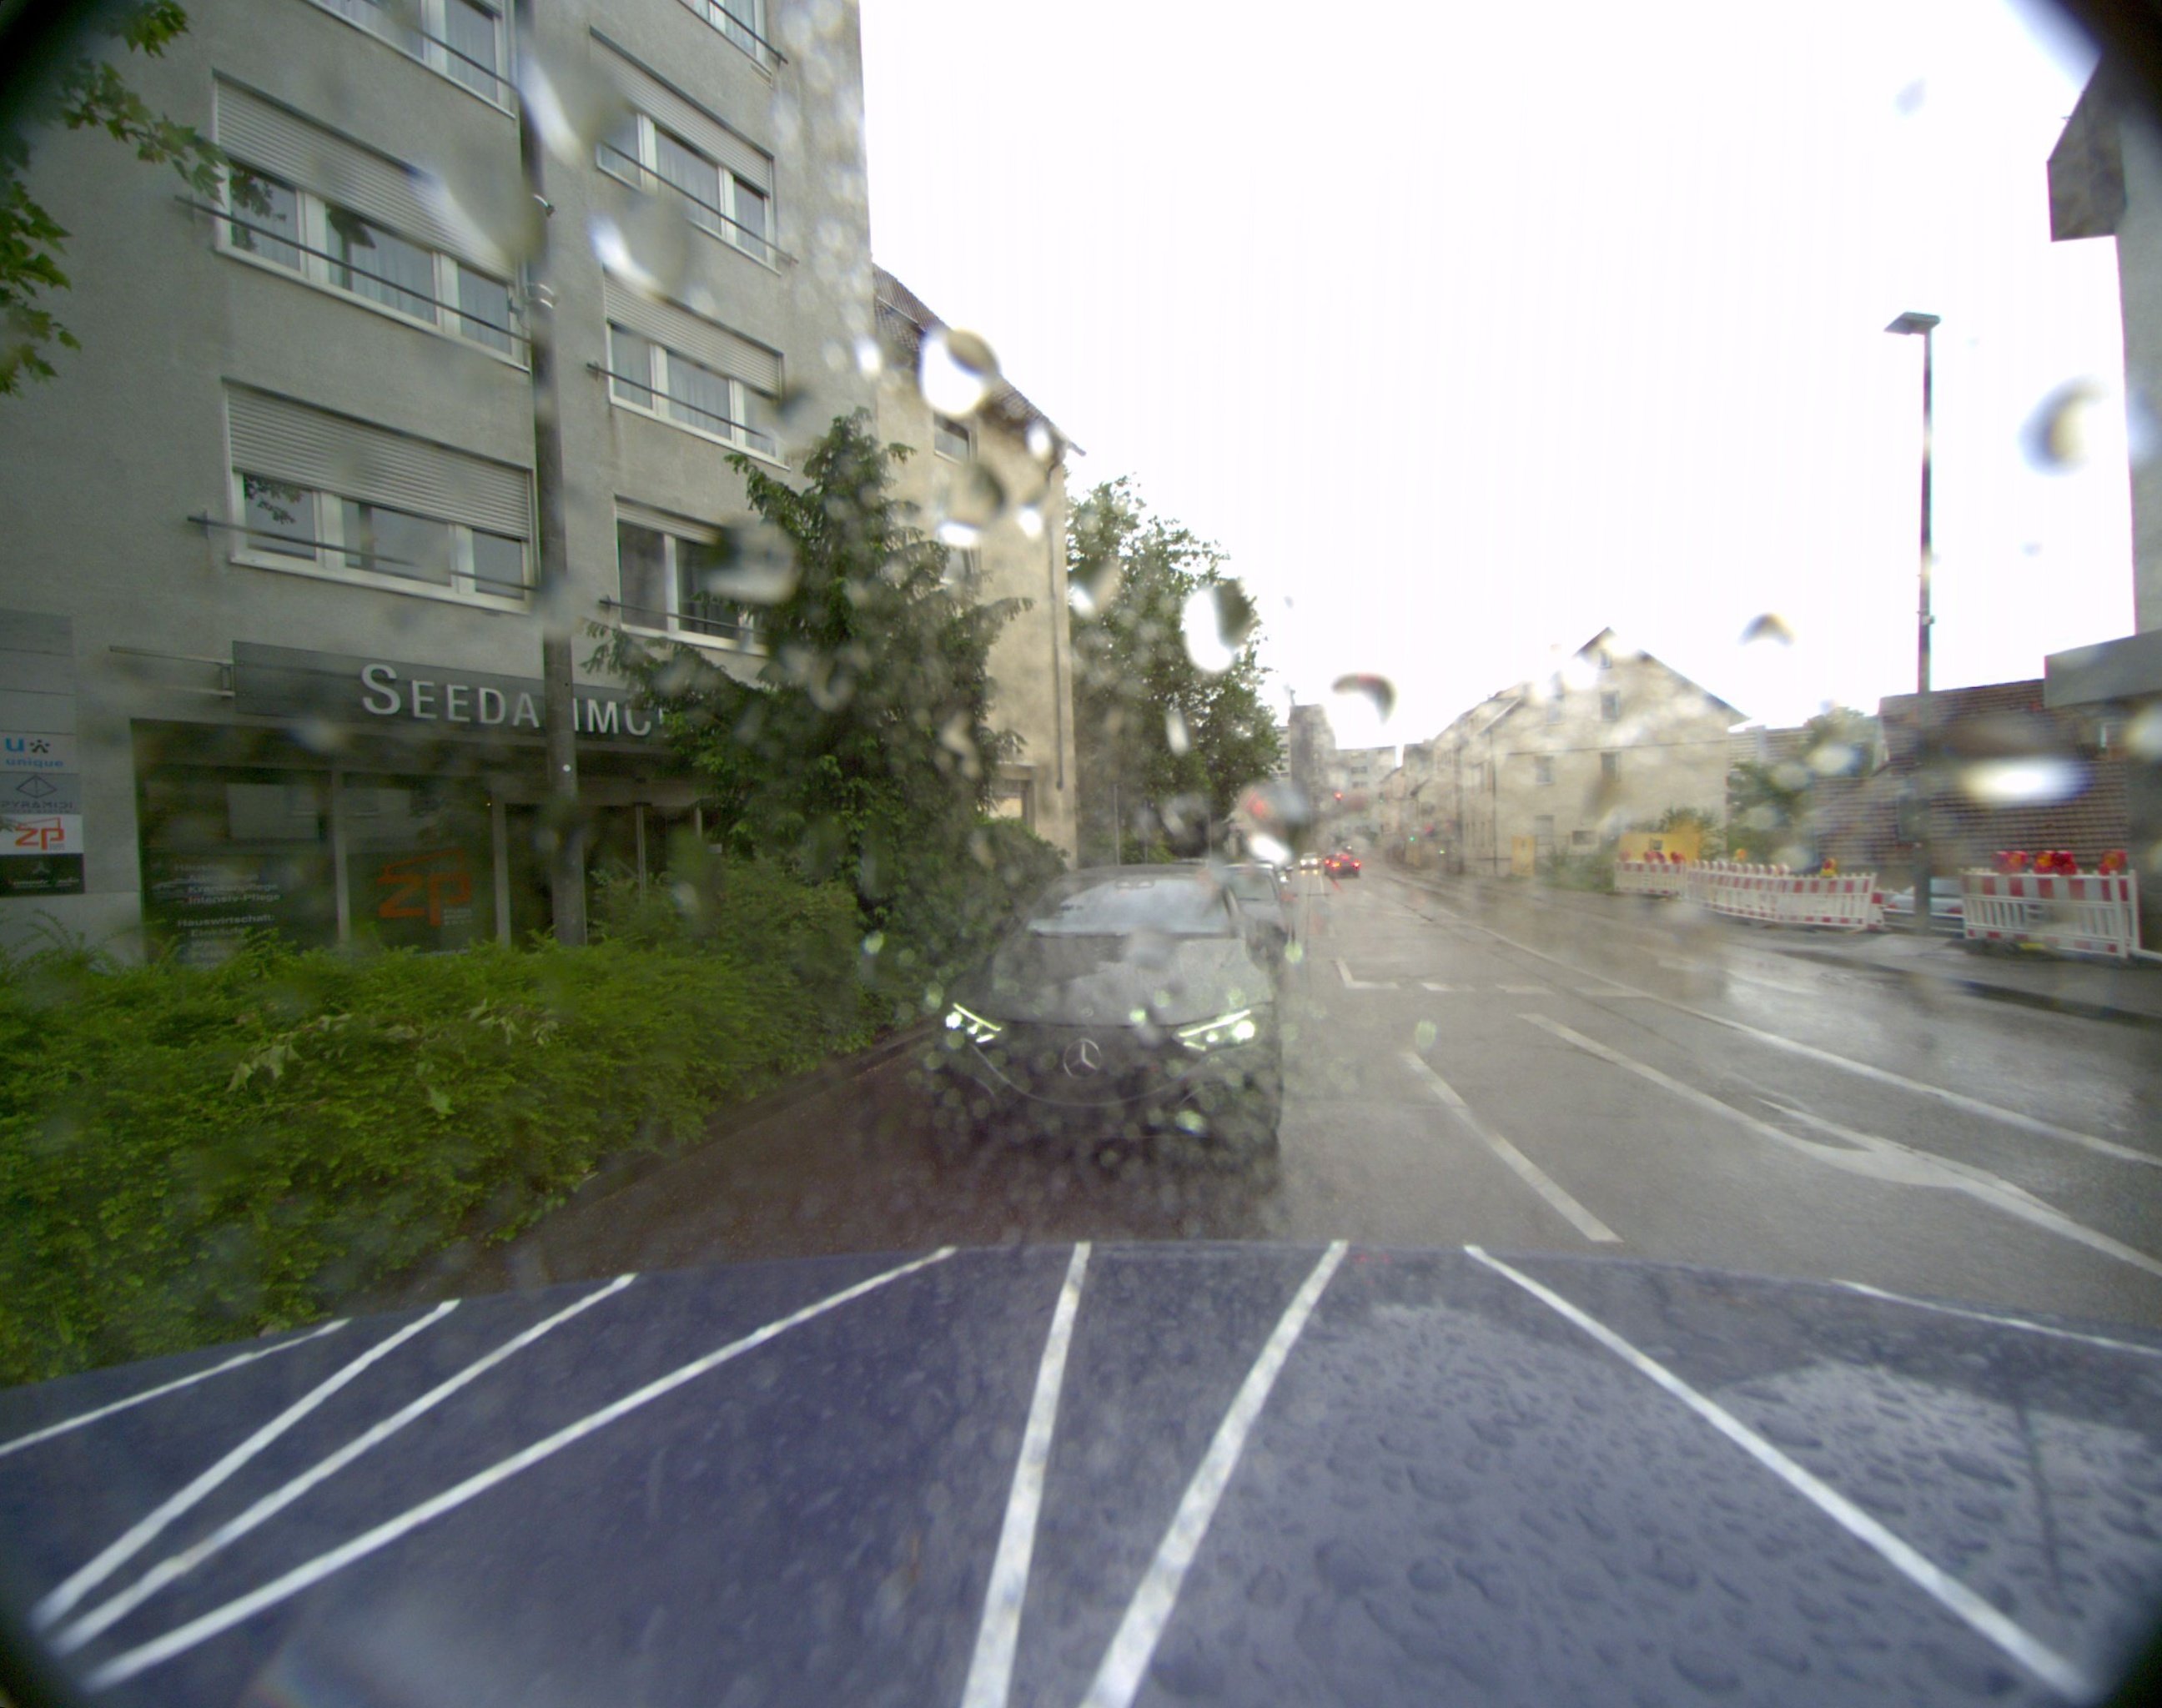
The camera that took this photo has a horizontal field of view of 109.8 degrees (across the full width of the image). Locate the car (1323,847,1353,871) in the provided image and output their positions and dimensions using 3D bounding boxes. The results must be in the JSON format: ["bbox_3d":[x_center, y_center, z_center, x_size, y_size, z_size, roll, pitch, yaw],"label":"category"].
[{"bbox_3d":[18.868,0.389,55.924,1.818,1.635,4.281,-2,-1,16],"label":"car"}]

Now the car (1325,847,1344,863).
[{"bbox_3d":[31.345,0.095,94.020,1.791,1.841,3.839,-2,0,14],"label":"car"}]

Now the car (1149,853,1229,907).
[{"bbox_3d":[4.056,0.882,27.810,1.933,1.770,4.740,-1,0,20],"label":"car"}]

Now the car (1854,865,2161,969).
[{"bbox_3d":[16.403,1.067,13.409,3.505,1.382,1.653,6,-1,8],"label":"car"}]

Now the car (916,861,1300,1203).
[{"bbox_3d":[0.512,0.879,5.770,1.819,1.562,4.280,-3,-1,11],"label":"car"}]

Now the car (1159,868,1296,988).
[{"bbox_3d":[2.367,0.961,11.511,1.639,1.424,3.810,-1,0,17],"label":"car"}]

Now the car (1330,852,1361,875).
[{"bbox_3d":[17.225,0.602,49.654,1.709,1.375,3.674,-2,0,16],"label":"car"}]

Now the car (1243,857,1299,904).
[{"bbox_3d":[6.857,0.895,27.160,1.684,1.452,4.005,-2,0,17],"label":"car"}]

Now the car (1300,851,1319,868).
[{"bbox_3d":[22.104,0.539,73.441,1.613,1.495,3.722,-3,0,17],"label":"car"}]

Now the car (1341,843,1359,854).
[{"bbox_3d":[40.501,-0.881,114.392,1.790,1.555,3.842,-2,0,31],"label":"car"}]

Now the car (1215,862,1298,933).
[{"bbox_3d":[4.233,0.957,18.197,1.685,1.413,4.004,-2,0,14],"label":"car"}]
